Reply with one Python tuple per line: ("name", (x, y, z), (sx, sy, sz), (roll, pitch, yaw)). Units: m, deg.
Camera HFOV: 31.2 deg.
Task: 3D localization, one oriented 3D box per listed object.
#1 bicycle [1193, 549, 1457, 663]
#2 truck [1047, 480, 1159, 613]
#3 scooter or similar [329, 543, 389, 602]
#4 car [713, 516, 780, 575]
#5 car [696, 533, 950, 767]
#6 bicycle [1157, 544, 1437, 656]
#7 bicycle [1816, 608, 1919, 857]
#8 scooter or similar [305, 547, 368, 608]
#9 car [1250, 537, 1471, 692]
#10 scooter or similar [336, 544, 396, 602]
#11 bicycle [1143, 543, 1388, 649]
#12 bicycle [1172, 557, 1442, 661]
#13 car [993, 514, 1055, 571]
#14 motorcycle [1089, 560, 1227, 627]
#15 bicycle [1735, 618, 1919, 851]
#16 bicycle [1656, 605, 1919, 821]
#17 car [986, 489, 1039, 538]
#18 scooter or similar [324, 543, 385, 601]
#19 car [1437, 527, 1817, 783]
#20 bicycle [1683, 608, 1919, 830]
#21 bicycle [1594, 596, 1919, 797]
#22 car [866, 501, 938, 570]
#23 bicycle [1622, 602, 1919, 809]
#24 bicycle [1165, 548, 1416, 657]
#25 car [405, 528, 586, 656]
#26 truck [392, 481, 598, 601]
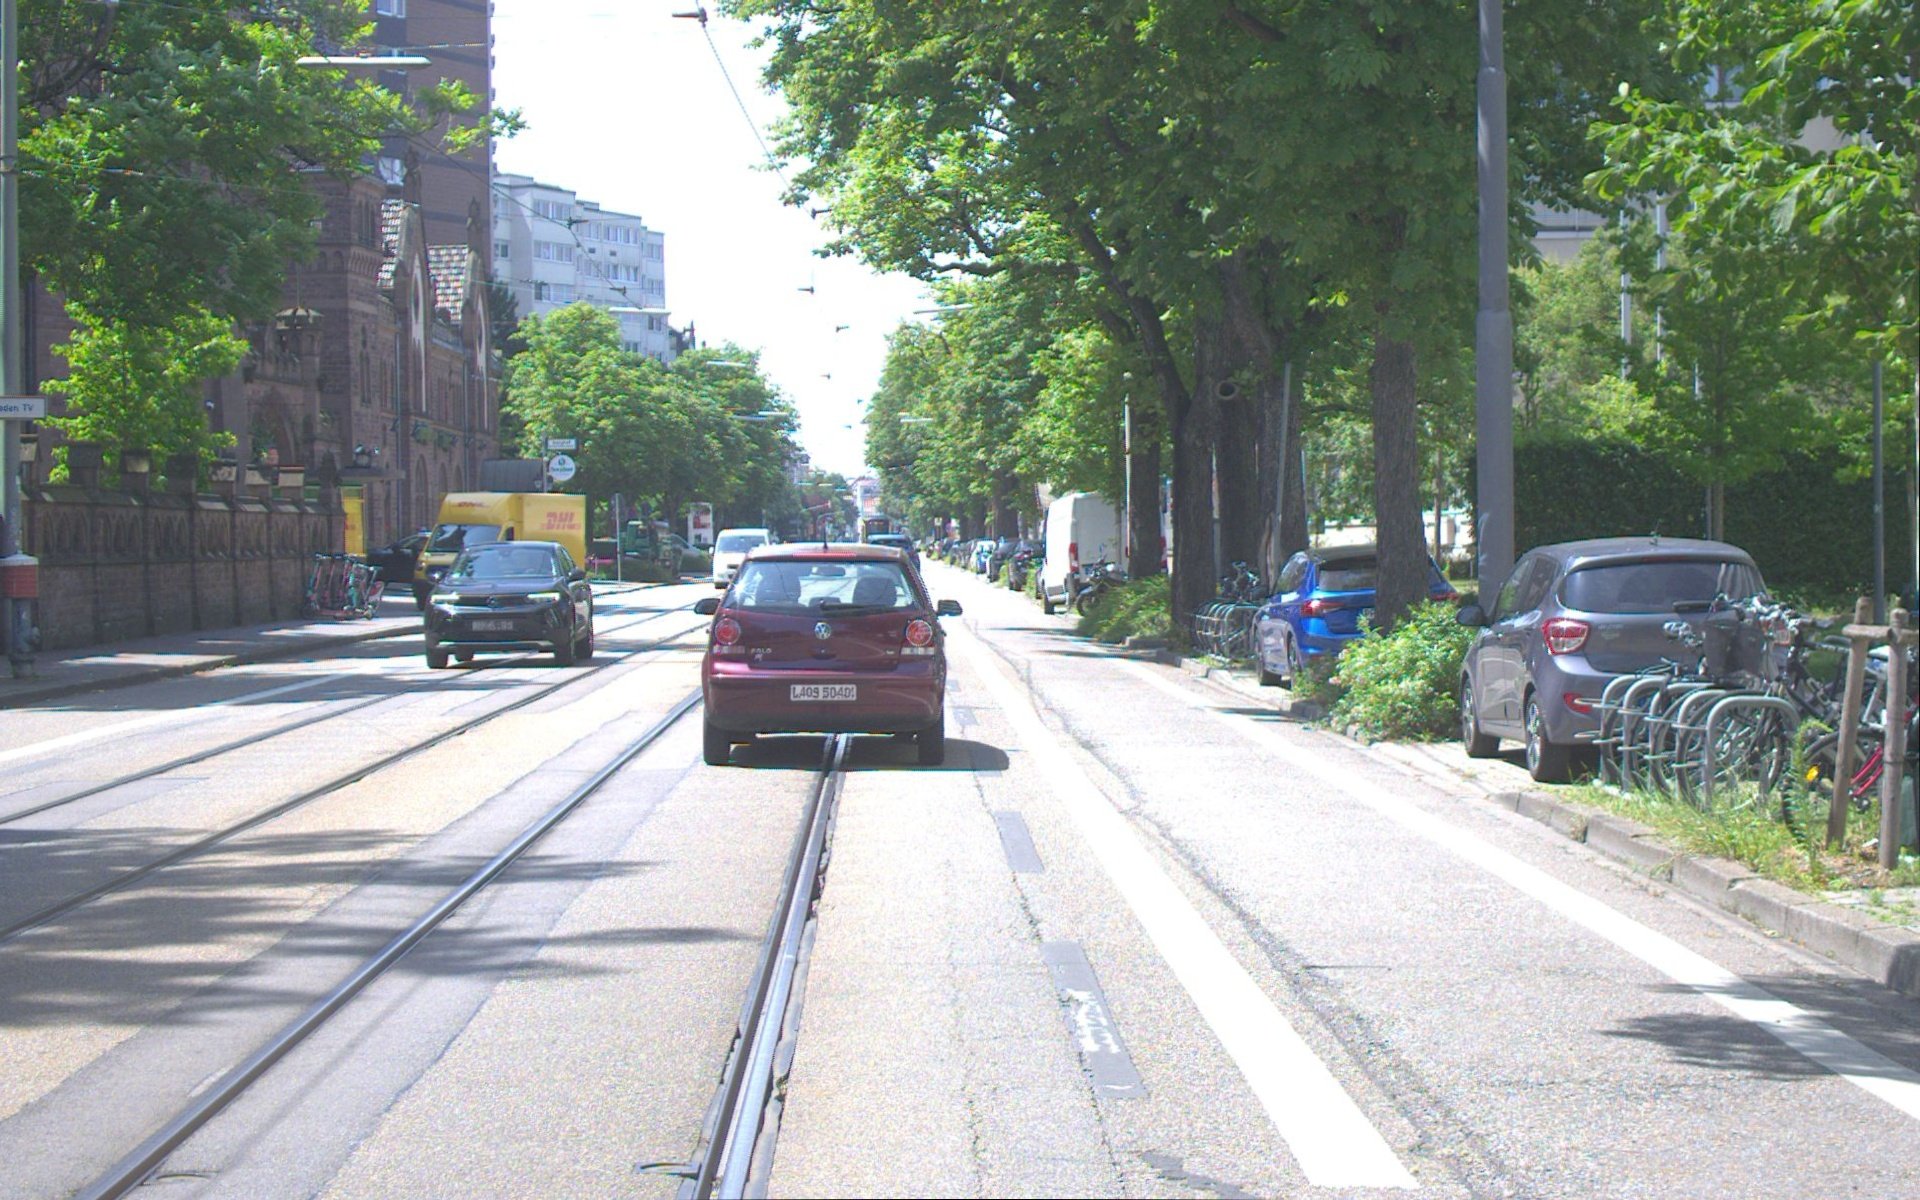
("bicycle", (4.406, 0.073, 41.651), (3.069, 1.308, 0.782), (1, 1, -3))
("truck", (2.965, -1.145, 72.313), (1.993, 2.652, 4.876), (1, 1, -1))
("scooter or similar", (-11.987, -0.551, 68.555), (1.088, 1.151, 0.527), (1, 1, -22))
("car", (-6.914, -1.774, 111.639), (1.993, 1.848, 4.682), (0, 1, -1))
("car", (-0.940, 0.282, 24.058), (1.619, 1.481, 4.001), (0, 1, -2))
("bicycle", (4.175, -0.004, 42.732), (3.367, 1.308, 0.782), (1, 1, -3))
("bicycle", (4.777, 0.579, 15.390), (1.751, 1.081, 0.548), (0, 1, -1))
("scooter or similar", (-11.943, -0.436, 65.872), (1.088, 1.151, 0.527), (1, 1, -22))
("car", (3.985, 0.103, 34.724), (1.688, 1.463, 3.880), (0, 1, -1))
("scooter or similar", (-12.053, -0.545, 69.745), (1.088, 1.151, 0.527), (1, 1, -22))
("bicycle", (3.951, -0.053, 44.637), (3.069, 1.308, 0.782), (1, 1, -3))
("bicycle", (4.078, 0.104, 40.548), (3.069, 1.150, 0.782), (1, 1, -3))
("car", (1.903, -1.738, 103.696), (1.674, 1.650, 4.001), (1, 1, -1))
("motorcycle", (3.710, -0.130, 64.314), (2.555, 1.183, 0.941), (1, 1, 4))
("bicycle", (4.667, 0.635, 16.522), (1.751, 1.081, 0.548), (0, 1, -1))
("bicycle", (4.564, 0.579, 17.912), (1.751, 1.081, 0.548), (0, 1, -1))
("car", (1.820, -3.018, 120.275), (1.674, 1.650, 4.001), (1, 1, -1))
("scooter or similar", (-12.166, -0.559, 69.070), (1.088, 1.151, 0.527), (1, 1, -22))
("car", (4.304, 0.299, 22.691), (1.688, 1.497, 3.628), (-2, 1, -1))
("bicycle", (4.577, 0.587, 17.302), (1.751, 1.081, 0.548), (0, 1, -1))
("bicycle", (4.474, 0.531, 19.208), (1.751, 1.081, 0.548), (0, 1, -1))
("car", (-1.792, -1.967, 104.419), (1.993, 2.007, 4.001), (1, 1, -3))
("bicycle", (4.505, 0.561, 18.559), (1.751, 1.081, 0.548), (0, 1, -1))
("bicycle", (4.185, 0.023, 43.633), (3.069, 1.308, 0.782), (1, 1, -3))
("car", (-5.742, -0.132, 42.864), (1.770, 1.510, 4.000), (0, 1, -1))
("truck", (-11.236, -1.452, 83.764), (2.371, 2.777, 7.315), (0, 1, 14))
